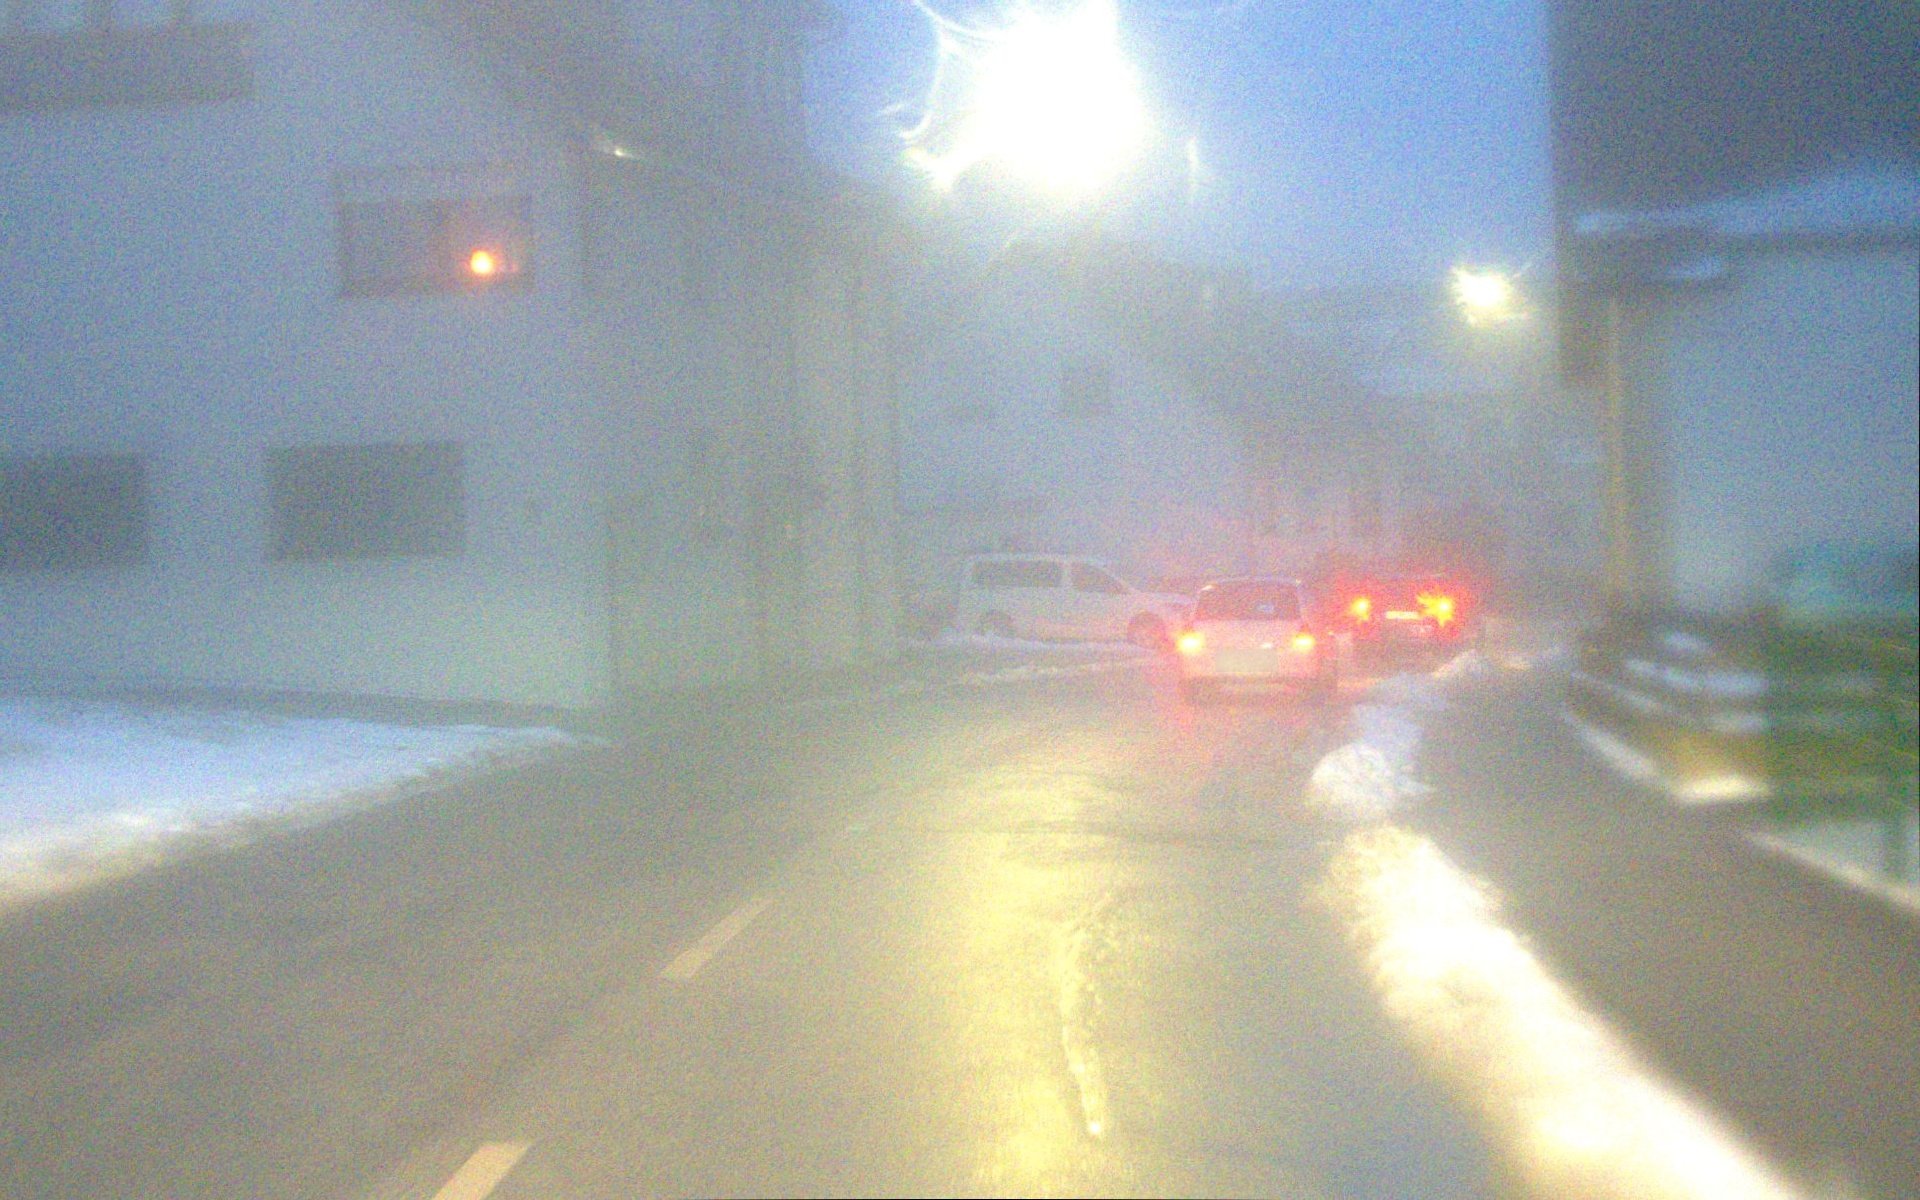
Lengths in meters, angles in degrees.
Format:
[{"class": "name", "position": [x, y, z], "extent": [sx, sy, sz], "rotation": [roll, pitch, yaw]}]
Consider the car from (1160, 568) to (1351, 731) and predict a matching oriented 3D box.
[{"class": "car", "position": [3.469, 0.527, 39.711], "extent": [1.994, 1.502, 4.000], "rotation": [-3, 3, 7]}]

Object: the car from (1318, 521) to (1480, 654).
[{"class": "car", "position": [7.118, -0.231, 55.396], "extent": [1.995, 1.831, 3.998], "rotation": [-3, 3, 15]}]

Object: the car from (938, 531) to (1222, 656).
[{"class": "car", "position": [2.210, -0.116, 63.407], "extent": [4.738, 2.006, 1.998], "rotation": [-2, 3, 24]}]

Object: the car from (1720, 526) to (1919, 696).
[{"class": "car", "position": [9.184, 0.103, 31.931], "extent": [3.988, 1.448, 1.714], "rotation": [1, 3, 8]}]
